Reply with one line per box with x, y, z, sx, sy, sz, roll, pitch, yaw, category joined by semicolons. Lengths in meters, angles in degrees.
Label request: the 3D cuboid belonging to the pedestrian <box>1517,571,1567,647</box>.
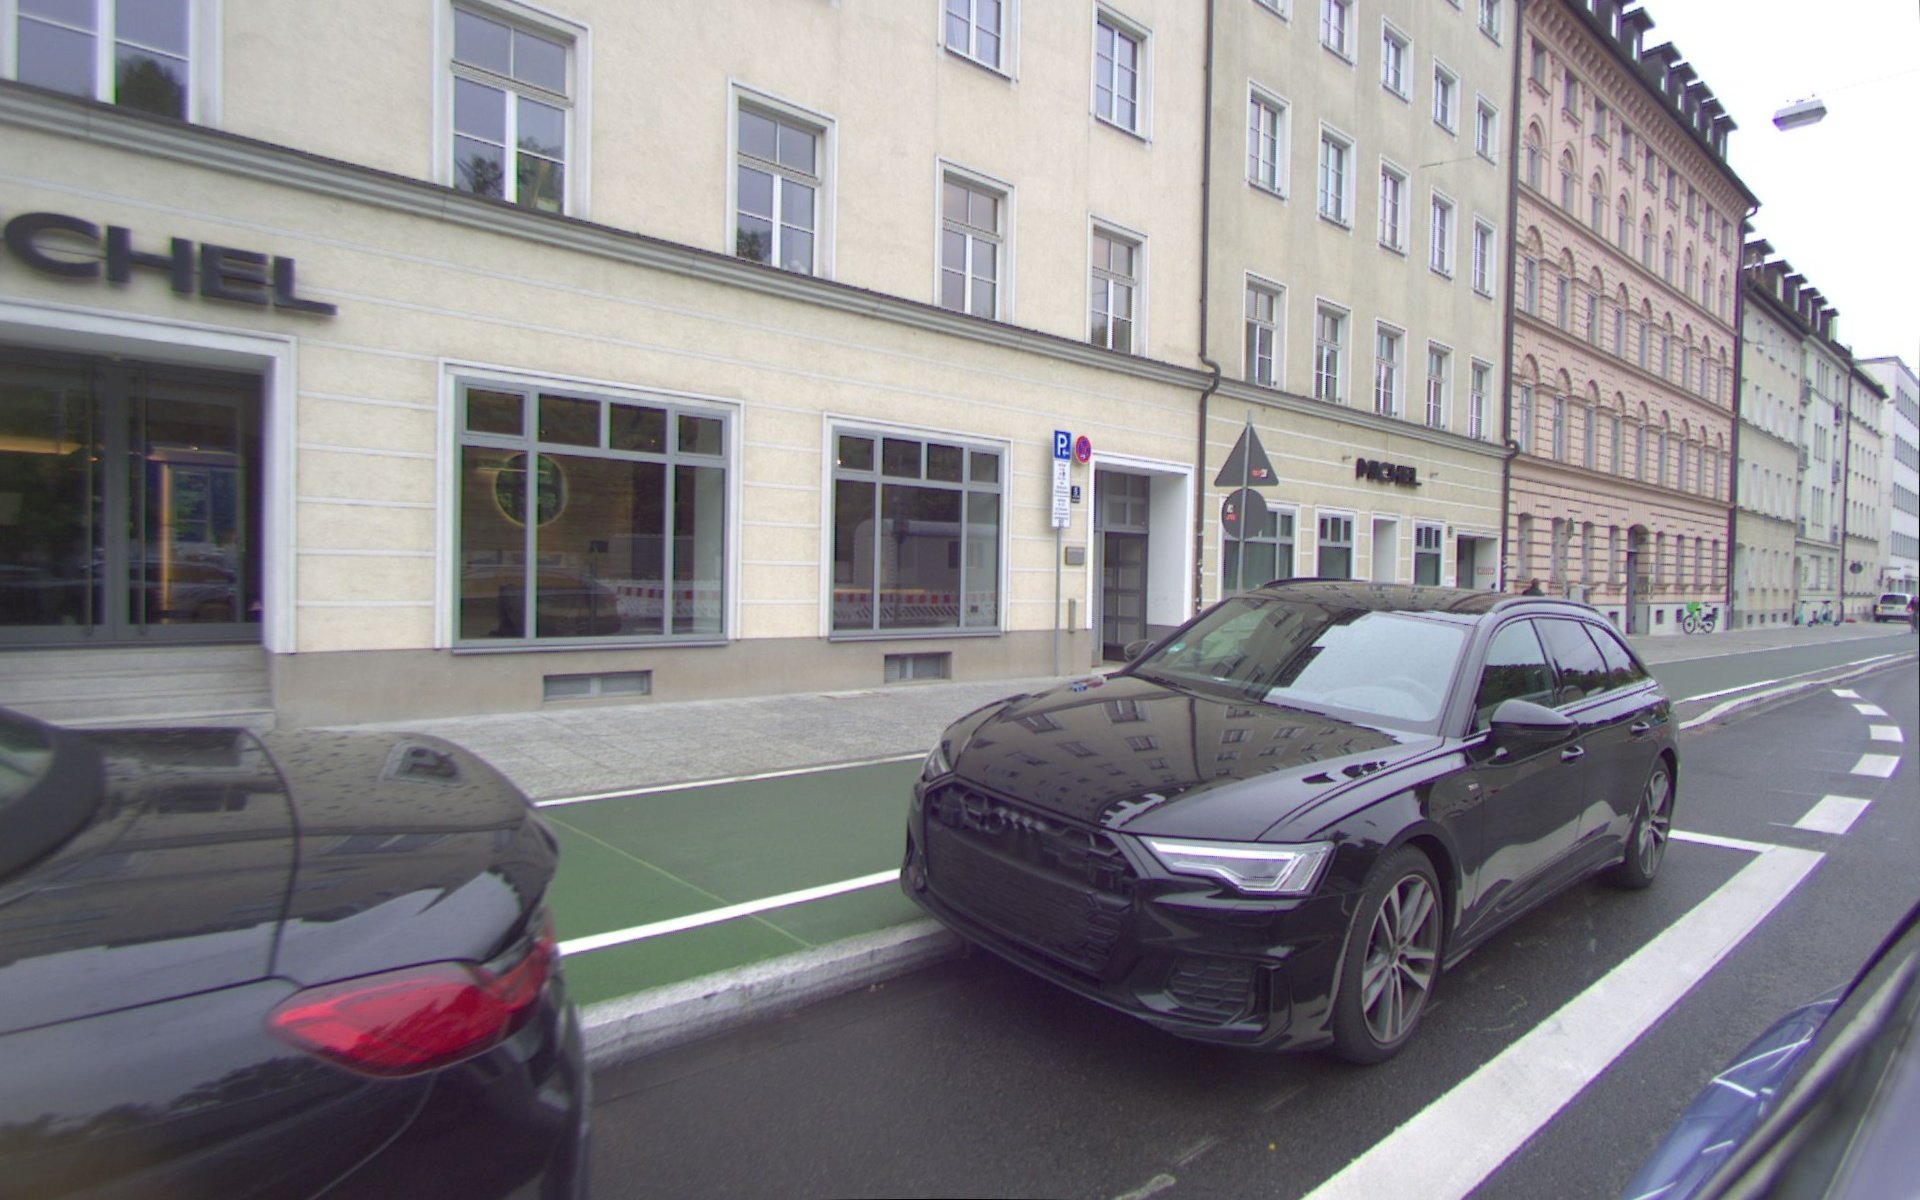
14.047;0.205;24.426;0.818;1.767;0.795;0;1;-40;pedestrian

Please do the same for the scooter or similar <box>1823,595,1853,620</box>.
45.072;0.383;51.965;1.060;1.207;0.436;1;1;10;scooter or similar

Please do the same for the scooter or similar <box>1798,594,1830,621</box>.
40.438;0.351;47.941;1.055;1.261;0.554;1;1;-6;scooter or similar

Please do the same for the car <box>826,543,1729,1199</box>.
1.761;0.624;4.545;4.385;1.498;1.813;0;5;-42;car

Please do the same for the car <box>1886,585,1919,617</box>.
57.897;0.060;61.605;3.930;1.855;1.765;0;1;-41;car

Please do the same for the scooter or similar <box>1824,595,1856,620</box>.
44.252;0.379;50.900;1.064;1.207;0.451;2;1;21;scooter or similar

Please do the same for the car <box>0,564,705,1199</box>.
-2.724;0.670;0.674;4.635;1.425;1.830;0;0;-39;car

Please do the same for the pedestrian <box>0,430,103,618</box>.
-8.790;-0.710;9.762;0.767;1.710;0.861;0;2;-39;pedestrian

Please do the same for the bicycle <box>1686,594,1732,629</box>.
26.665;0.406;36.011;1.690;1.191;0.558;1;1;-26;bicycle
